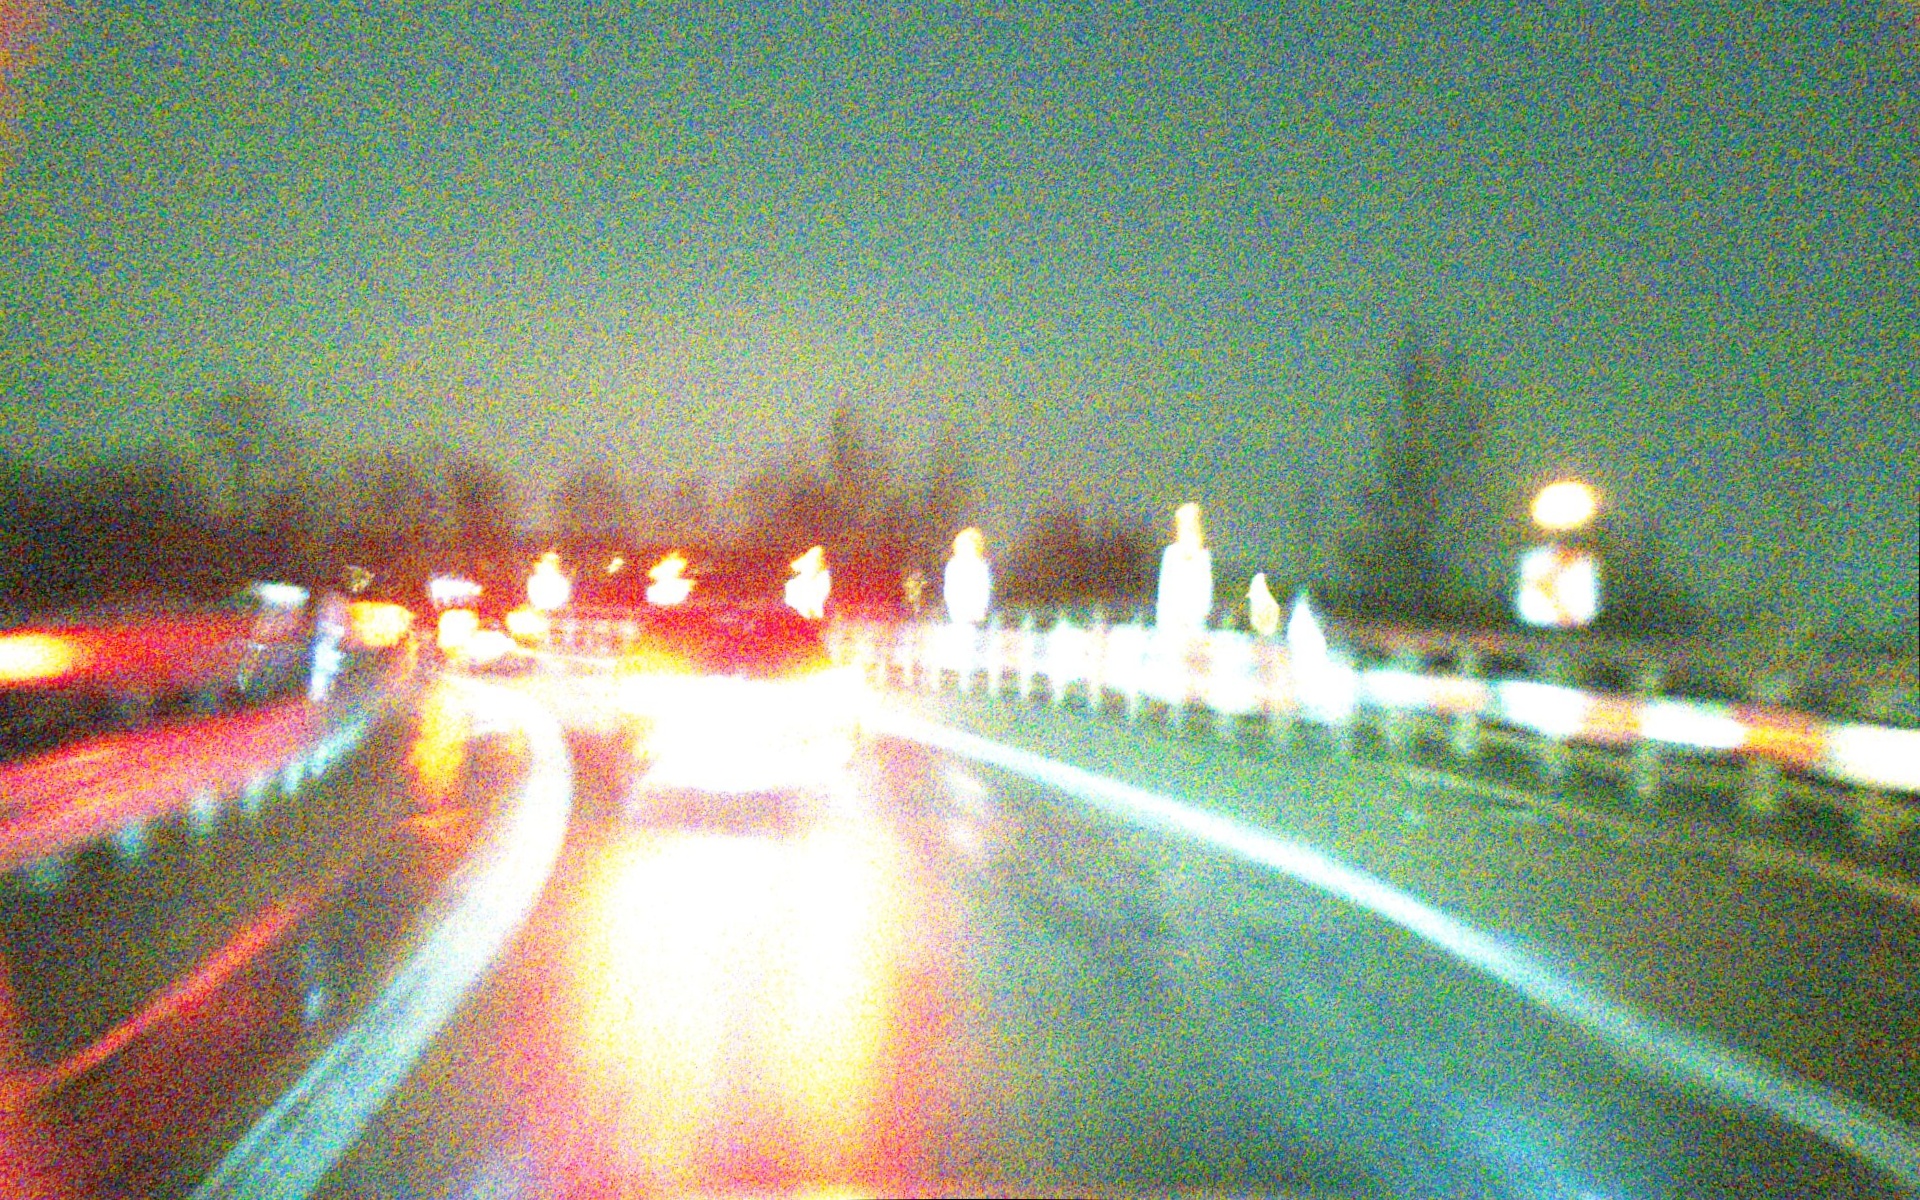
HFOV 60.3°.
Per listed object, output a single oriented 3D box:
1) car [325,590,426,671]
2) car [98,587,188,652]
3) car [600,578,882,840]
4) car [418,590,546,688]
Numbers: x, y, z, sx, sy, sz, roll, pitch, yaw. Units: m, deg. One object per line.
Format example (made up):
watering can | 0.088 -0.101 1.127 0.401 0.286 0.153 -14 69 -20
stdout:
car | -15.908 0.792 44.902 1.876 2.076 4.004 1 0 -30
car | -27.288 0.619 55.206 1.882 2.033 3.990 1 0 -38
car | -1.815 0.704 12.874 1.827 1.676 4.057 -1 0 -11
car | -9.370 0.712 32.222 1.870 1.750 4.016 1 0 -24
